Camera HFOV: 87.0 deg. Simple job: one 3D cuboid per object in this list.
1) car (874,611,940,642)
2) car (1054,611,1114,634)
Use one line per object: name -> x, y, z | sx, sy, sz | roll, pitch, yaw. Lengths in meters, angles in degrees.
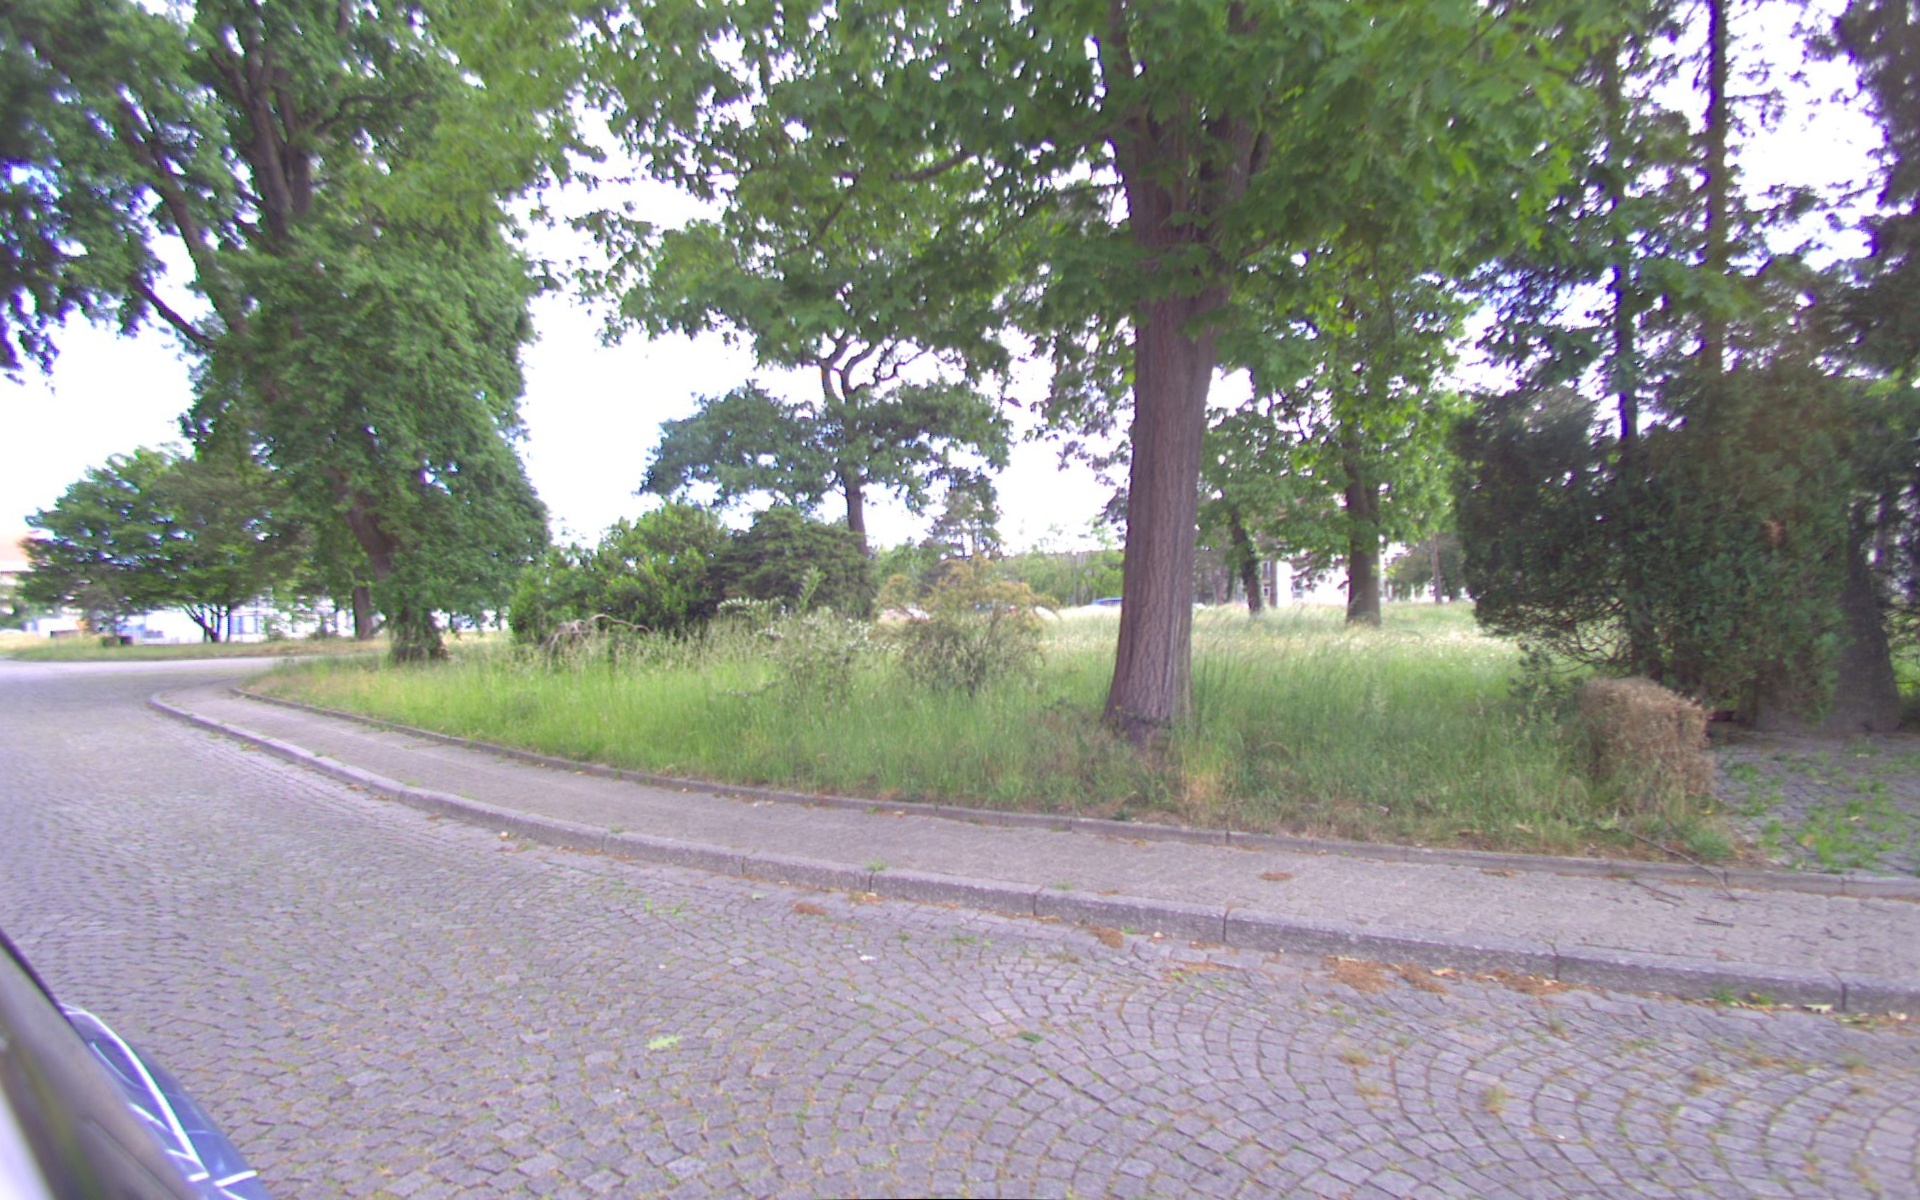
car -> -2.940, 1.476, 55.820 | 3.499, 1.493, 1.580 | -4, -3, 43
car -> 8.291, 1.486, 67.863 | 3.695, 1.349, 1.561 | -4, -3, 43
